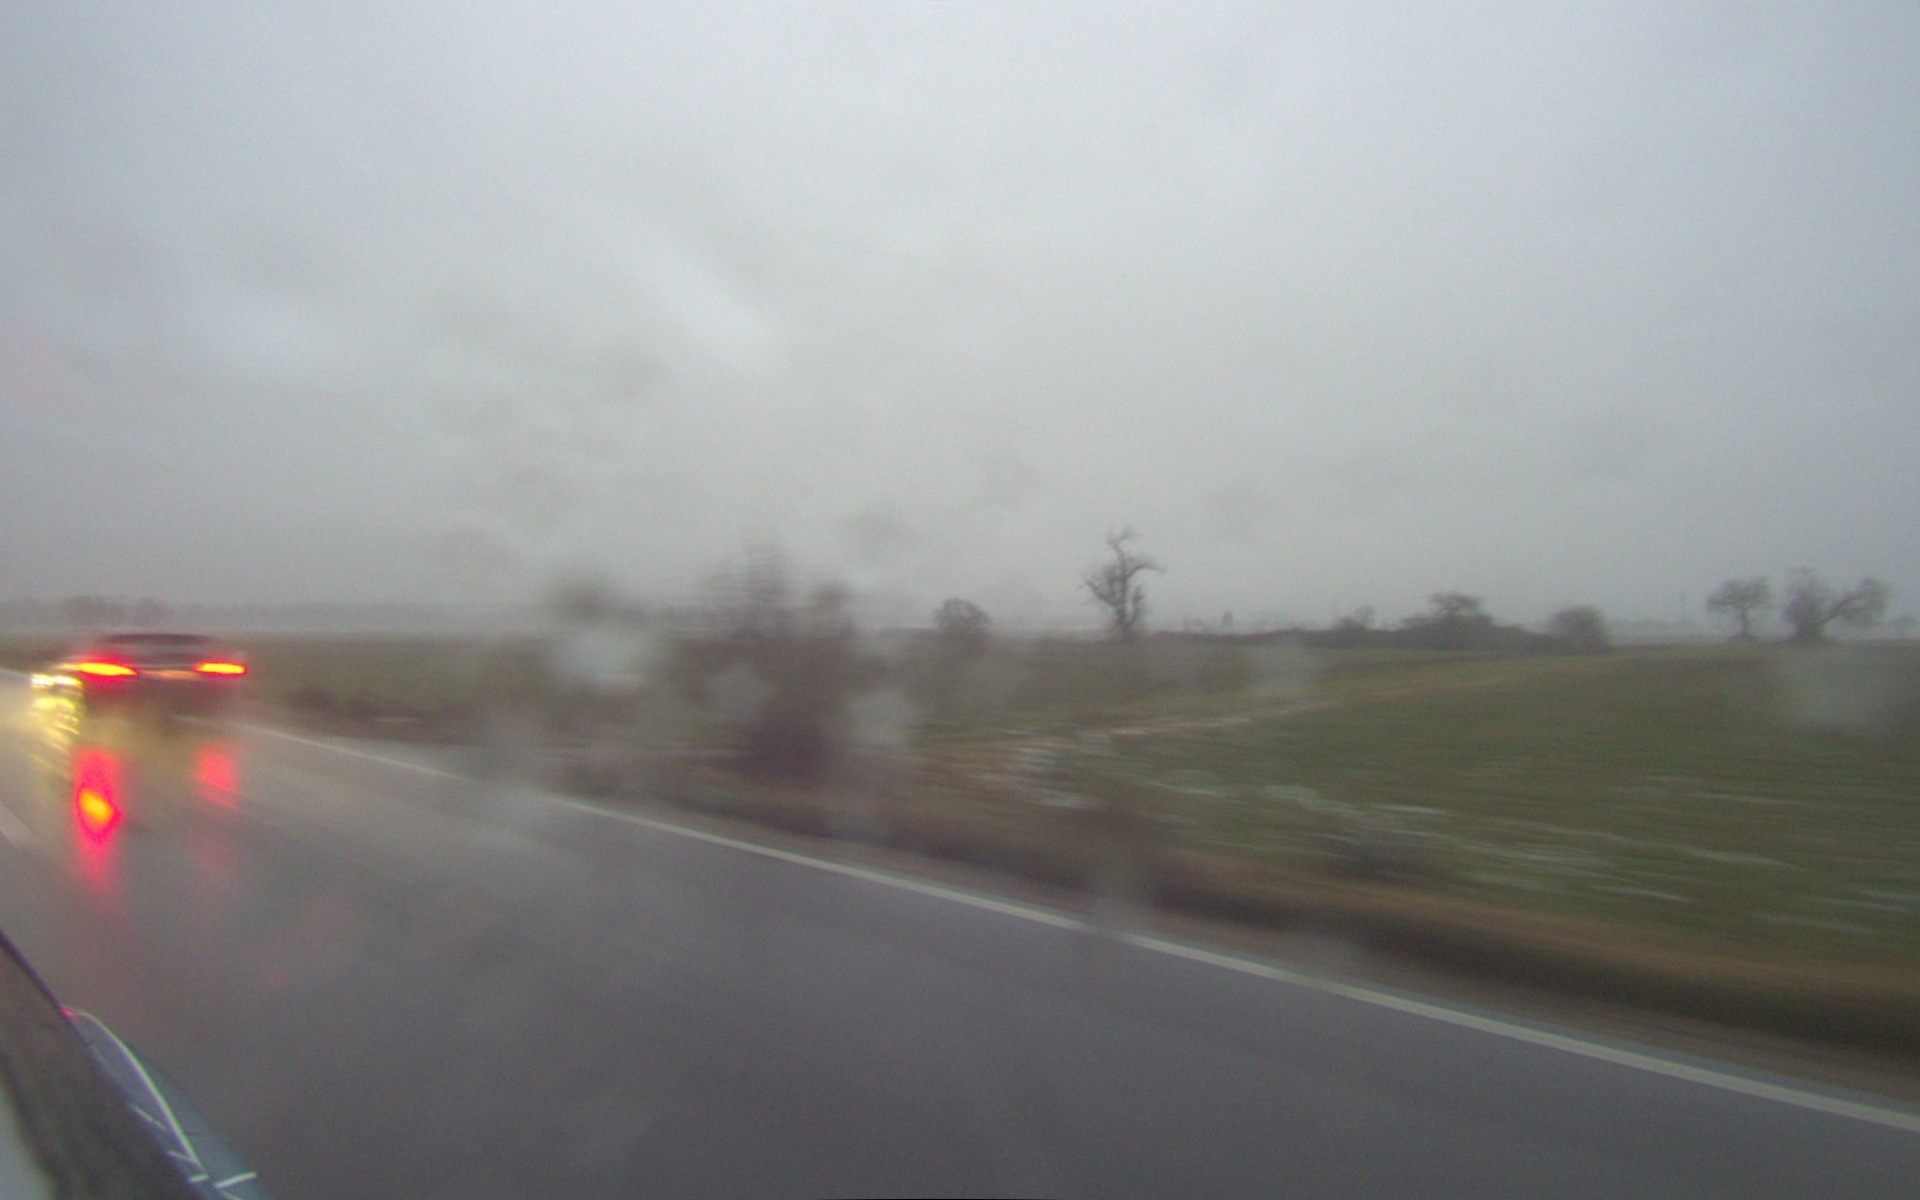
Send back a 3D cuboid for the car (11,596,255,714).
[{"bbox_3d":[-12.167,0.793,14.798,4.350,1.474,1.973,-1,-5,41],"label":"car"}]
